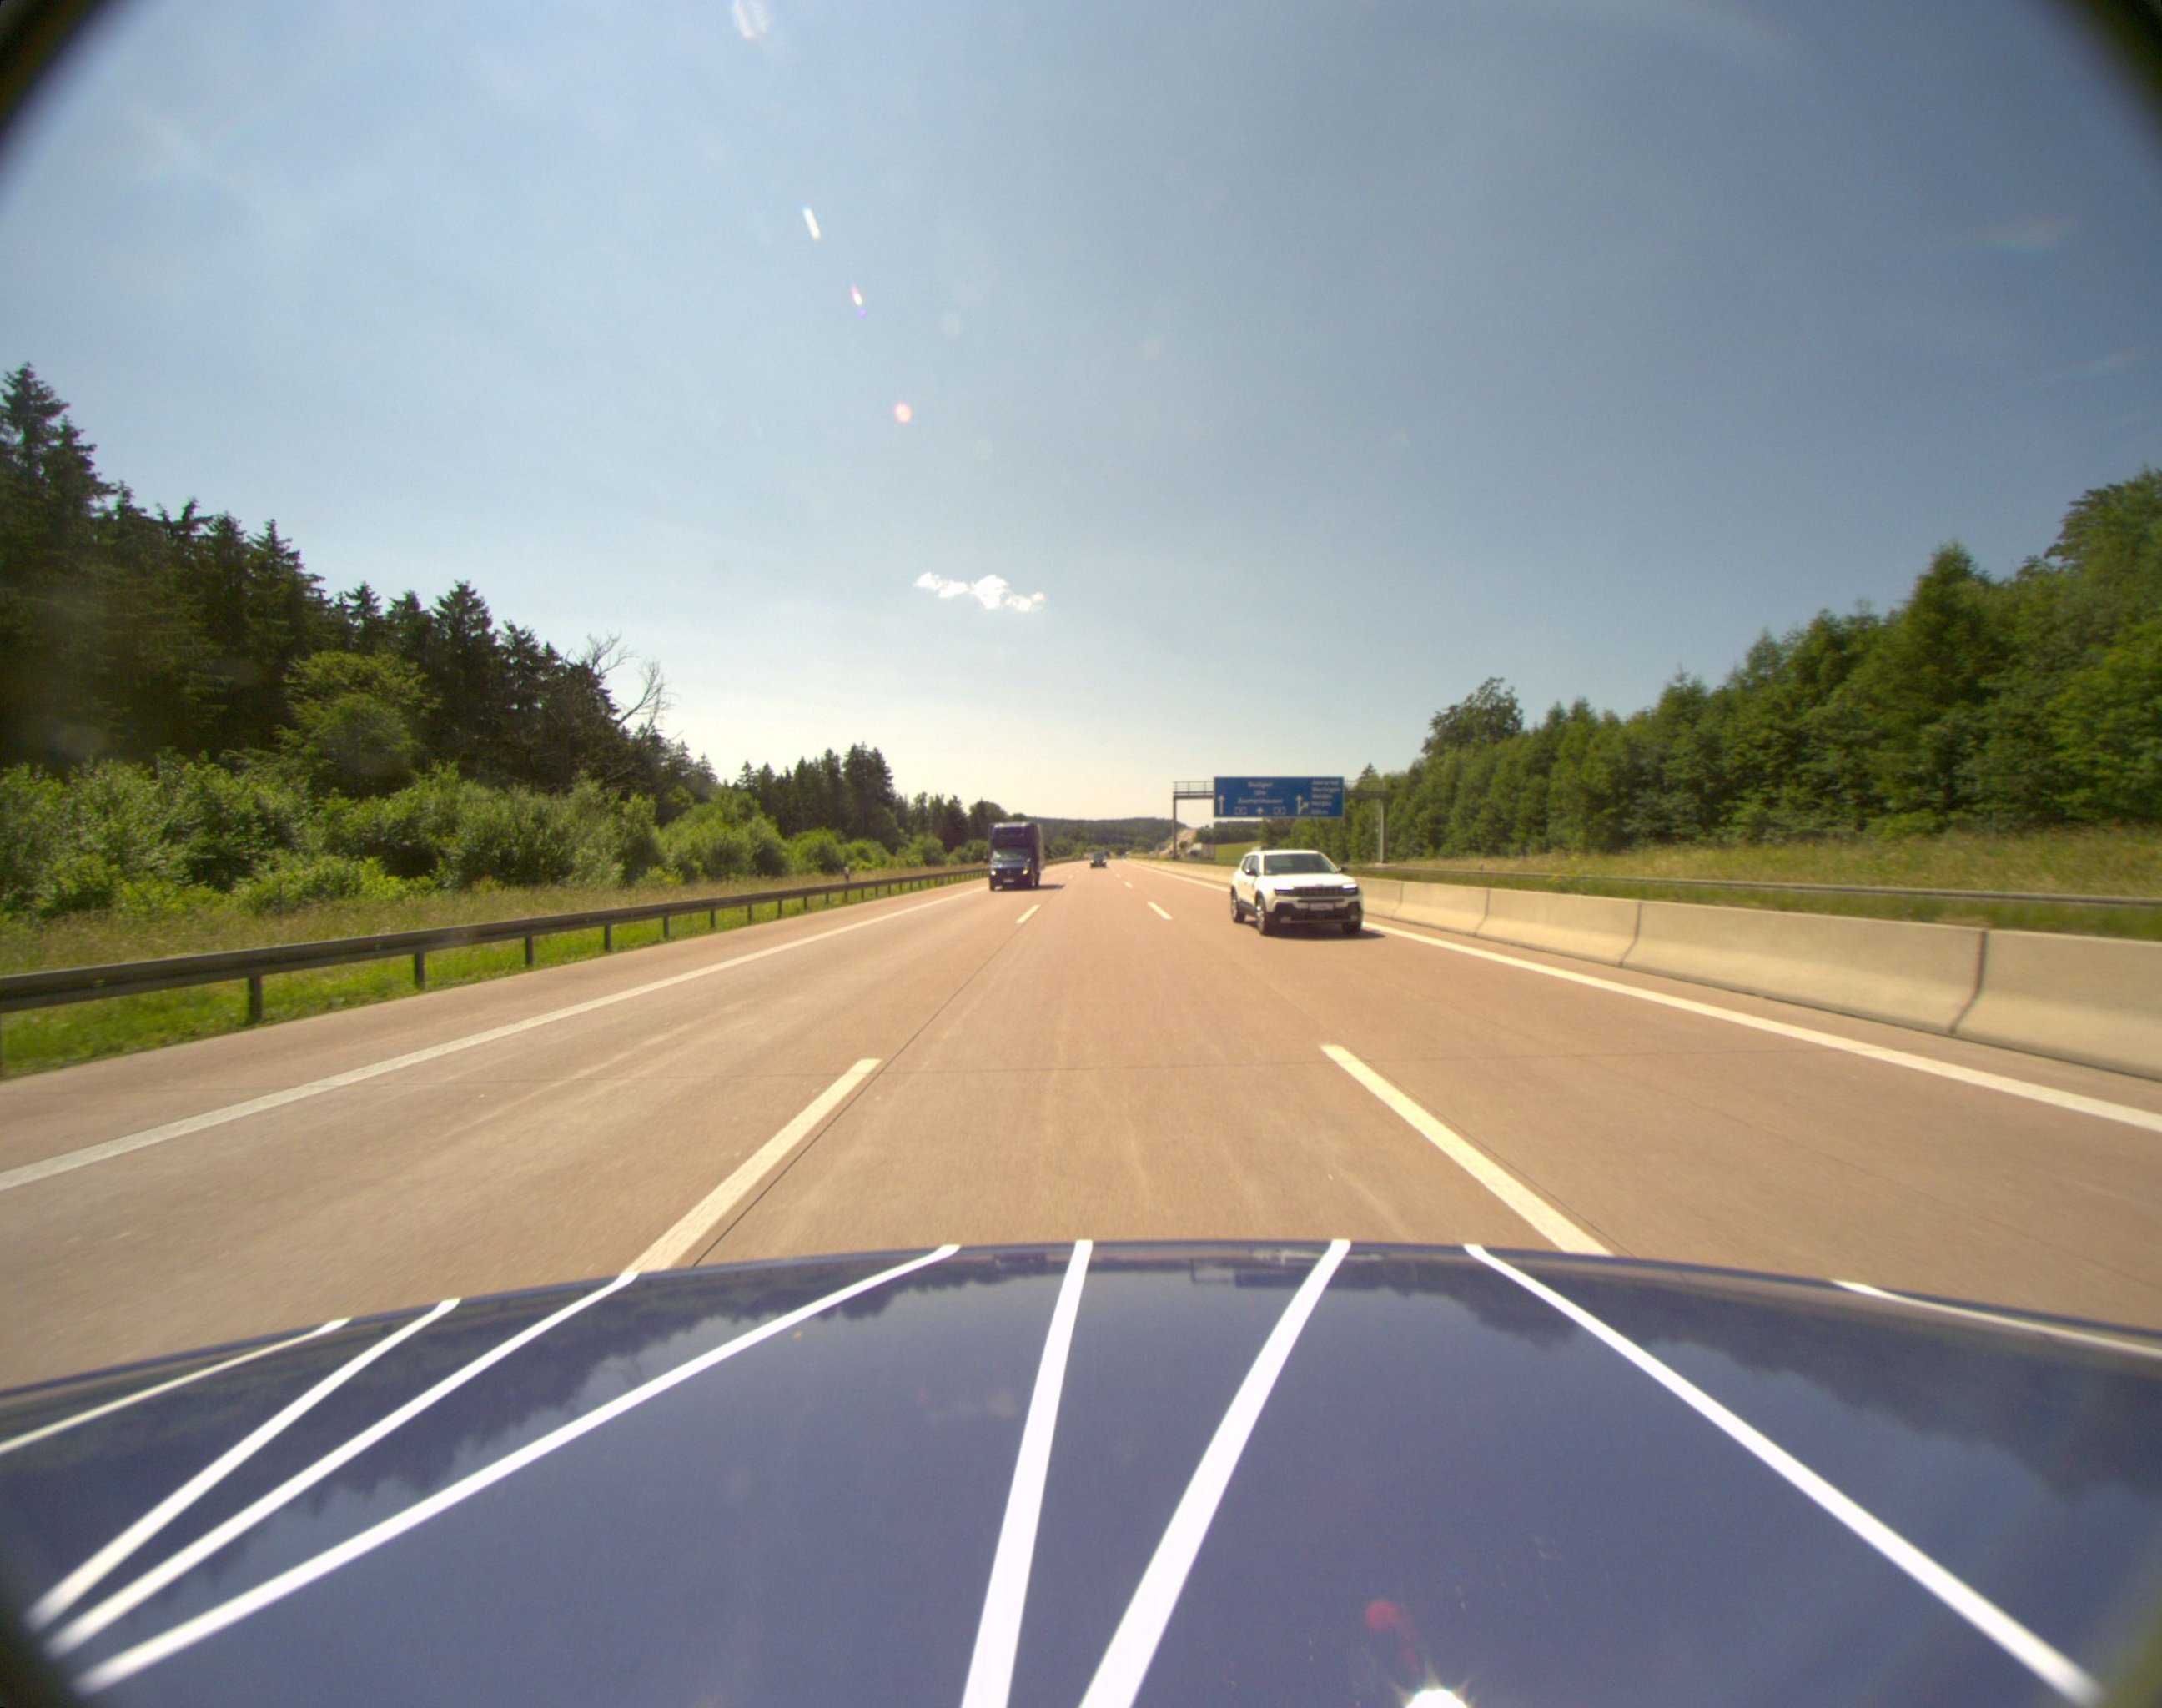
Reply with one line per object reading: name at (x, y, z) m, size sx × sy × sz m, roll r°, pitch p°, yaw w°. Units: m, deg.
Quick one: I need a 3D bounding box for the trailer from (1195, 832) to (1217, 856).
trailer at (24.937, -1.905, 151.964) m, size 2.709 × 4.408 × 13.194 m, roll -1°, pitch 0°, yaw 3°

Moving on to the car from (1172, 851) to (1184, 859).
car at (19.832, 0.223, 154.950) m, size 1.895 × 1.645 × 4.000 m, roll -1°, pitch 0°, yaw 1°

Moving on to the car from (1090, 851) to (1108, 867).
car at (2.214, 0.625, 91.889) m, size 1.998 × 1.805 × 4.565 m, roll -1°, pitch 0°, yaw 2°

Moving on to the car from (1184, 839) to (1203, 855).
car at (18.579, -1.133, 125.613) m, size 2.238 × 2.670 × 6.098 m, roll -1°, pitch 0°, yaw 1°

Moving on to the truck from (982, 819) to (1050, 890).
truck at (-3.138, 0.019, 38.604) m, size 2.508 × 3.199 × 7.784 m, roll -1°, pitch 0°, yaw 1°

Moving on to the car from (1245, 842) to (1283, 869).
car at (19.298, 0.164, 80.474) m, size 2.238 × 2.670 × 6.887 m, roll -1°, pitch 0°, yaw 0°

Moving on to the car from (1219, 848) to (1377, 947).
car at (4.065, 0.714, 15.116) m, size 1.883 × 1.598 × 4.834 m, roll -1°, pitch 0°, yaw 2°
